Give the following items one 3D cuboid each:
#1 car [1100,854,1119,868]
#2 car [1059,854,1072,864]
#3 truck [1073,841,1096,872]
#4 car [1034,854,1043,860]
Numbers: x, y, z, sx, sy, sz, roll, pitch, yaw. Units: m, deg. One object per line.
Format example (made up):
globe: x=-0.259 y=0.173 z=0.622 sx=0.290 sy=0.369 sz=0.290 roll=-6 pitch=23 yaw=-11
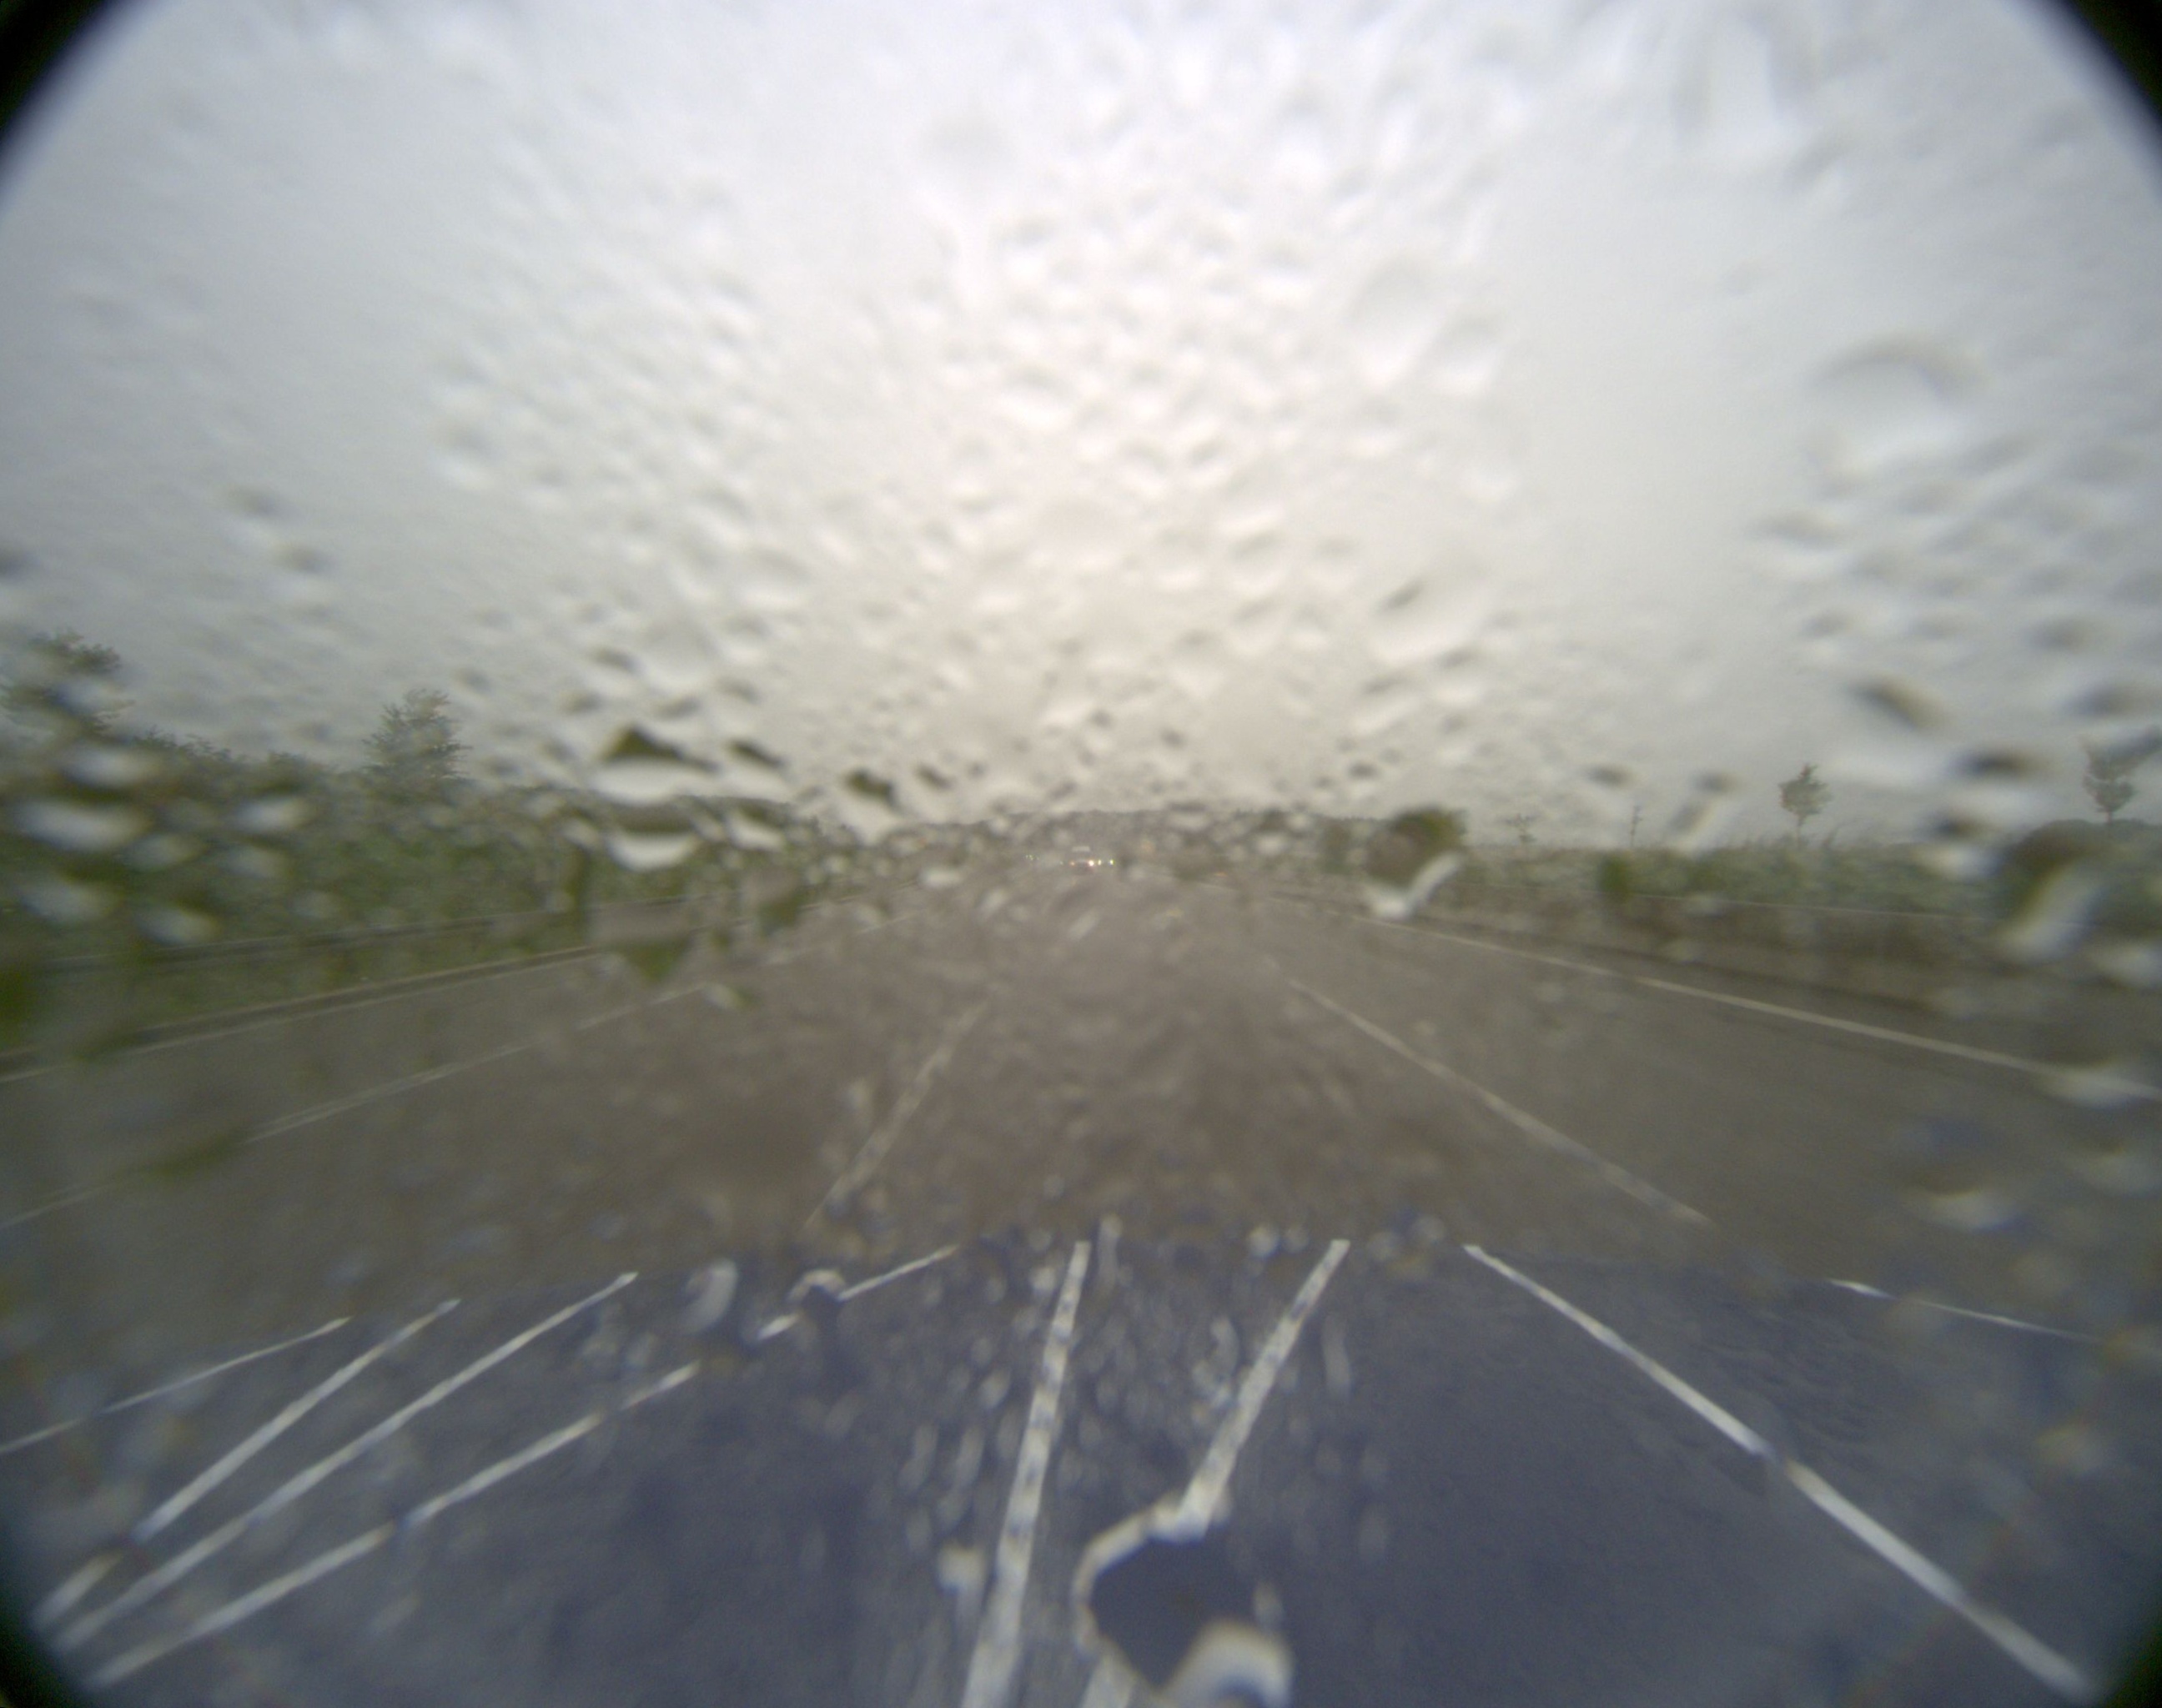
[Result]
car: x=3.506 y=0.833 z=93.873 sx=1.999 sy=1.608 sz=3.999 roll=-2 pitch=0 yaw=-2
car: x=-2.555 y=0.830 z=124.039 sx=1.999 sy=1.521 sz=4.000 roll=-1 pitch=0 yaw=0
truck: x=0.282 y=0.181 z=73.057 sx=1.999 sy=2.699 sz=7.997 roll=-2 pitch=1 yaw=-1
car: x=-11.498 y=0.814 z=205.154 sx=1.998 sy=1.543 sz=4.001 roll=-2 pitch=0 yaw=3
